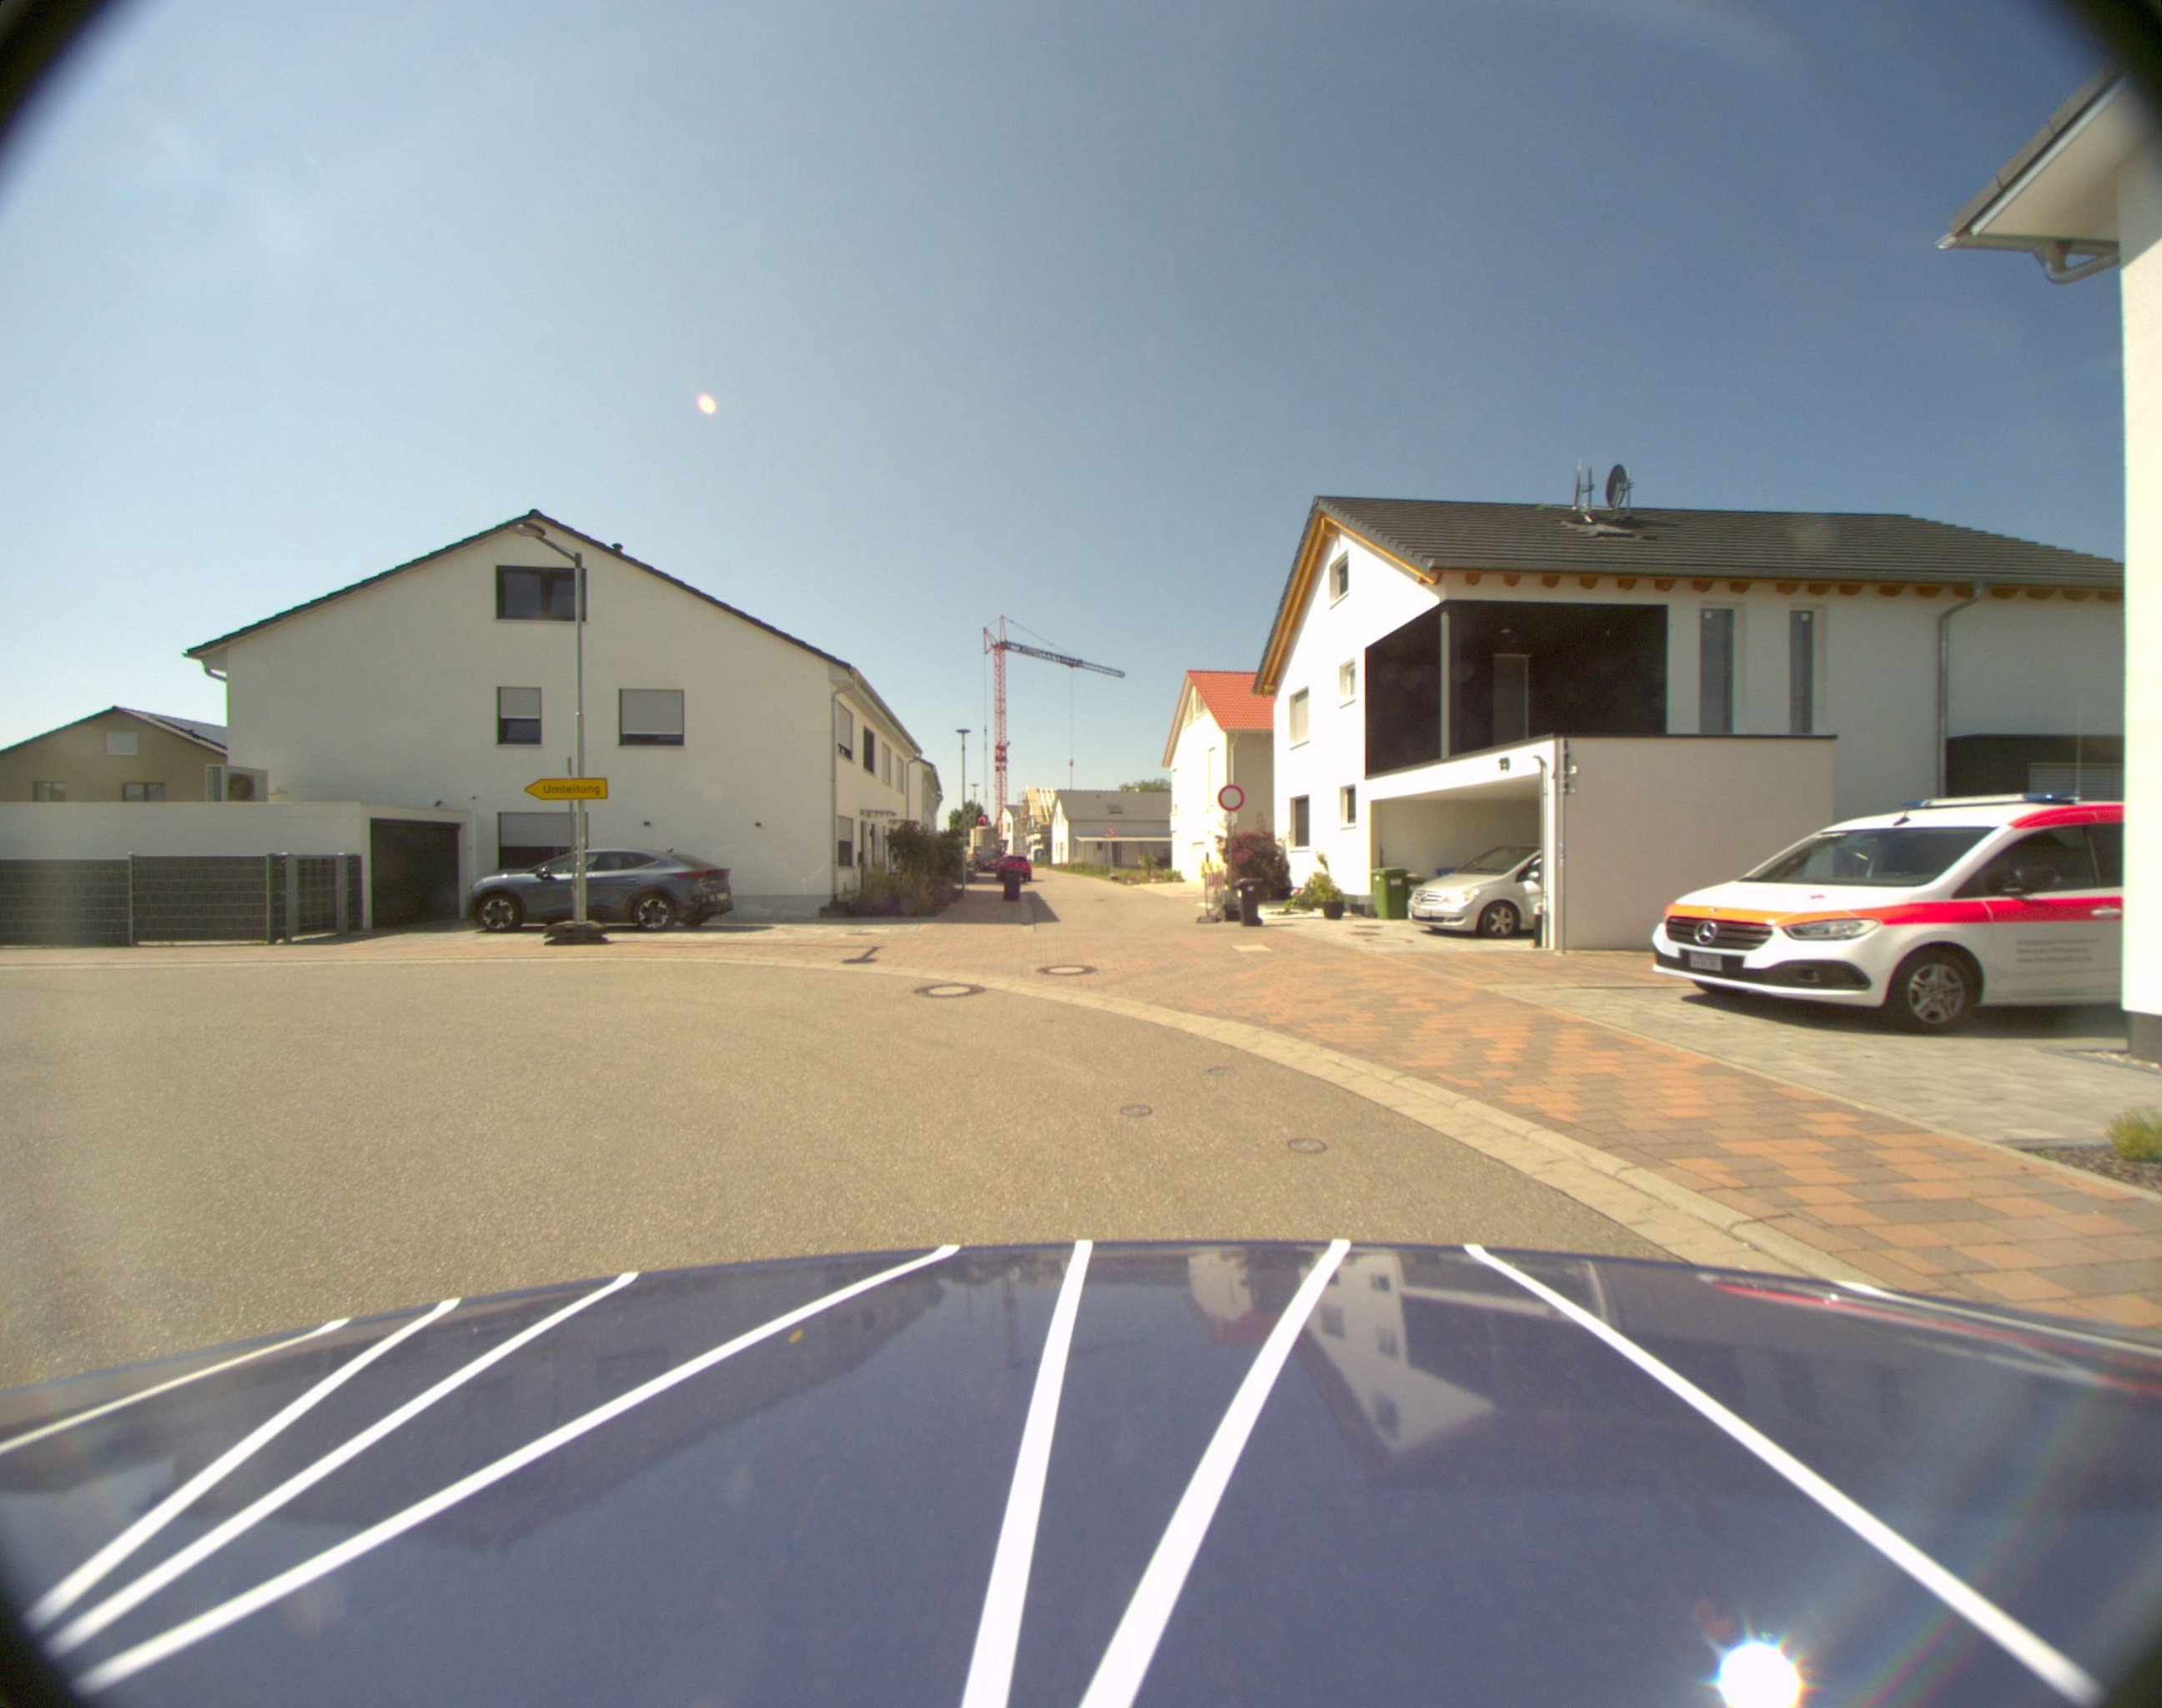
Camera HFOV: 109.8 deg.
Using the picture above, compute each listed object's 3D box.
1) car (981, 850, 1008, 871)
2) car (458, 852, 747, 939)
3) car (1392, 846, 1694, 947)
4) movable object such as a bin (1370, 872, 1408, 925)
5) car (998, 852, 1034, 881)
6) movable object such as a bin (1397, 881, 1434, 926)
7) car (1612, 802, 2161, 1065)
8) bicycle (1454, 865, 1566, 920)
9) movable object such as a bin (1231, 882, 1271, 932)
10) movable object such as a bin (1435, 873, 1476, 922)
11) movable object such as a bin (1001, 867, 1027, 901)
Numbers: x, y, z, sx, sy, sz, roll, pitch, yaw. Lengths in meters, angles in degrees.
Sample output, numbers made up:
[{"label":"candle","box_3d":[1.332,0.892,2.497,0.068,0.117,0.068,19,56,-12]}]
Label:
[{"label":"car","box_3d":[-7.081,0.471,61.848,1.804,1.609,3.671,-1,1,-12]},{"label":"car","box_3d":[-9.124,0.752,14.817,4.349,1.549,1.960,0,0,-4]},{"label":"car","box_3d":[7.667,0.656,12.802,4.165,1.553,1.744,0,0,-7]},{"label":"movable object such as a bin","box_3d":[6.441,0.924,15.927,0.500,1.085,0.601,-1,-1,-6]},{"label":"car","box_3d":[-3.664,0.652,42.615,1.912,1.470,3.997,0,1,-6]},{"label":"movable object such as a bin","box_3d":[7.053,1.031,16.024,0.500,0.900,0.561,-1,2,-6]},{"label":"car","box_3d":[7.554,0.562,6.523,4.750,1.864,1.937,0,1,-4]},{"label":"bicycle","box_3d":[9.443,0.827,16.757,2.133,1.120,0.778,0,2,-10]},{"label":"movable object such as a bin","box_3d":[3.360,1.043,15.066,0.618,0.931,0.564,-1,0,-6]},{"label":"movable object such as a bin","box_3d":[7.977,0.923,16.187,0.500,0.981,0.676,-1,2,-6]},{"label":"movable object such as a bin","box_3d":[-2.208,0.986,24.937,0.824,1.058,0.589,-1,2,-6]}]
